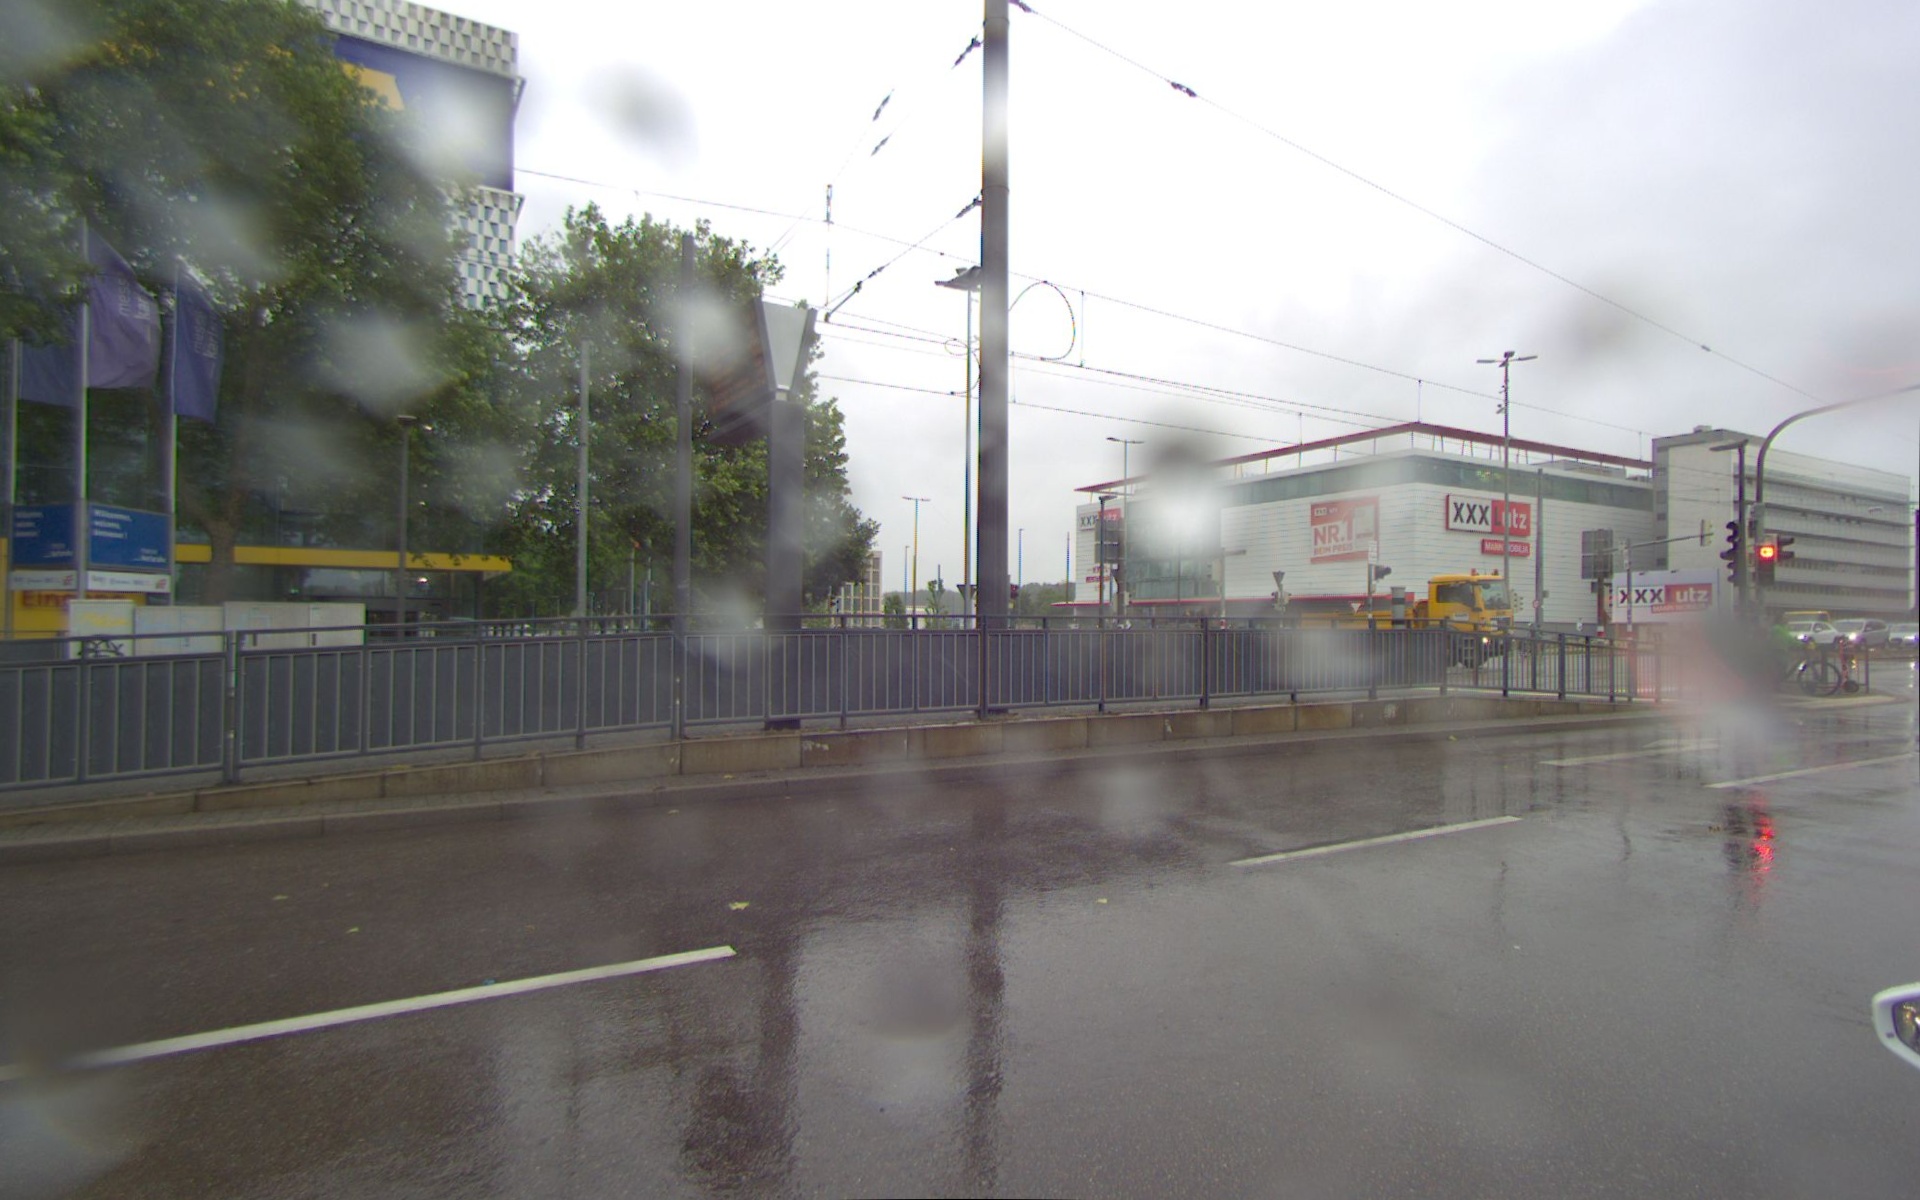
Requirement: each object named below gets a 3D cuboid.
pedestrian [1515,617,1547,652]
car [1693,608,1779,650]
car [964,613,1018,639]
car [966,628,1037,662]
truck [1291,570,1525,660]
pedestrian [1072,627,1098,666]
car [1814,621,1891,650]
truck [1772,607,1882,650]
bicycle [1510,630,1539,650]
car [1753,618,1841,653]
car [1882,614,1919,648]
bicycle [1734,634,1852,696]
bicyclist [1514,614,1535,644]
[{"bbox_3d":[27.446,1.659,48.291,0.996,1.654,0.917,2,0,-19],"label":"pedestrian"},{"bbox_3d":[40.402,1.525,52.299,3.947,2.040,1.987,2,0,-26],"label":"car"},{"bbox_3d":[2.172,1.793,70.214,3.723,1.645,2.001,2,0,2],"label":"car"},{"bbox_3d":[2.285,2.477,56.245,1.980,1.711,3.960,2,0,-35],"label":"car"},{"bbox_3d":[15.441,0.471,35.127,2.618,2.853,7.067,2,0,-38],"label":"truck"},{"bbox_3d":[5.094,1.900,40.924,0.863,1.557,0.560,2,0,-31],"label":"pedestrian"},{"bbox_3d":[44.880,1.789,50.501,3.780,1.354,1.582,2,0,-26],"label":"car"},{"bbox_3d":[49.485,1.646,57.263,7.542,2.309,2.341,2,0,-30],"label":"truck"},{"bbox_3d":[28.649,2.028,50.946,1.688,1.000,0.448,2,0,-30],"label":"bicycle"},{"bbox_3d":[39.726,1.688,47.671,3.823,1.512,1.693,2,0,-25],"label":"car"},{"bbox_3d":[51.379,1.678,53.611,3.947,1.722,1.886,2,0,-26],"label":"car"},{"bbox_3d":[16.812,1.284,20.326,0.409,1.048,1.742,2,3,-31],"label":"bicycle"},{"bbox_3d":[28.616,1.479,50.914,0.639,1.483,0.681,2,0,-29],"label":"bicyclist"}]
